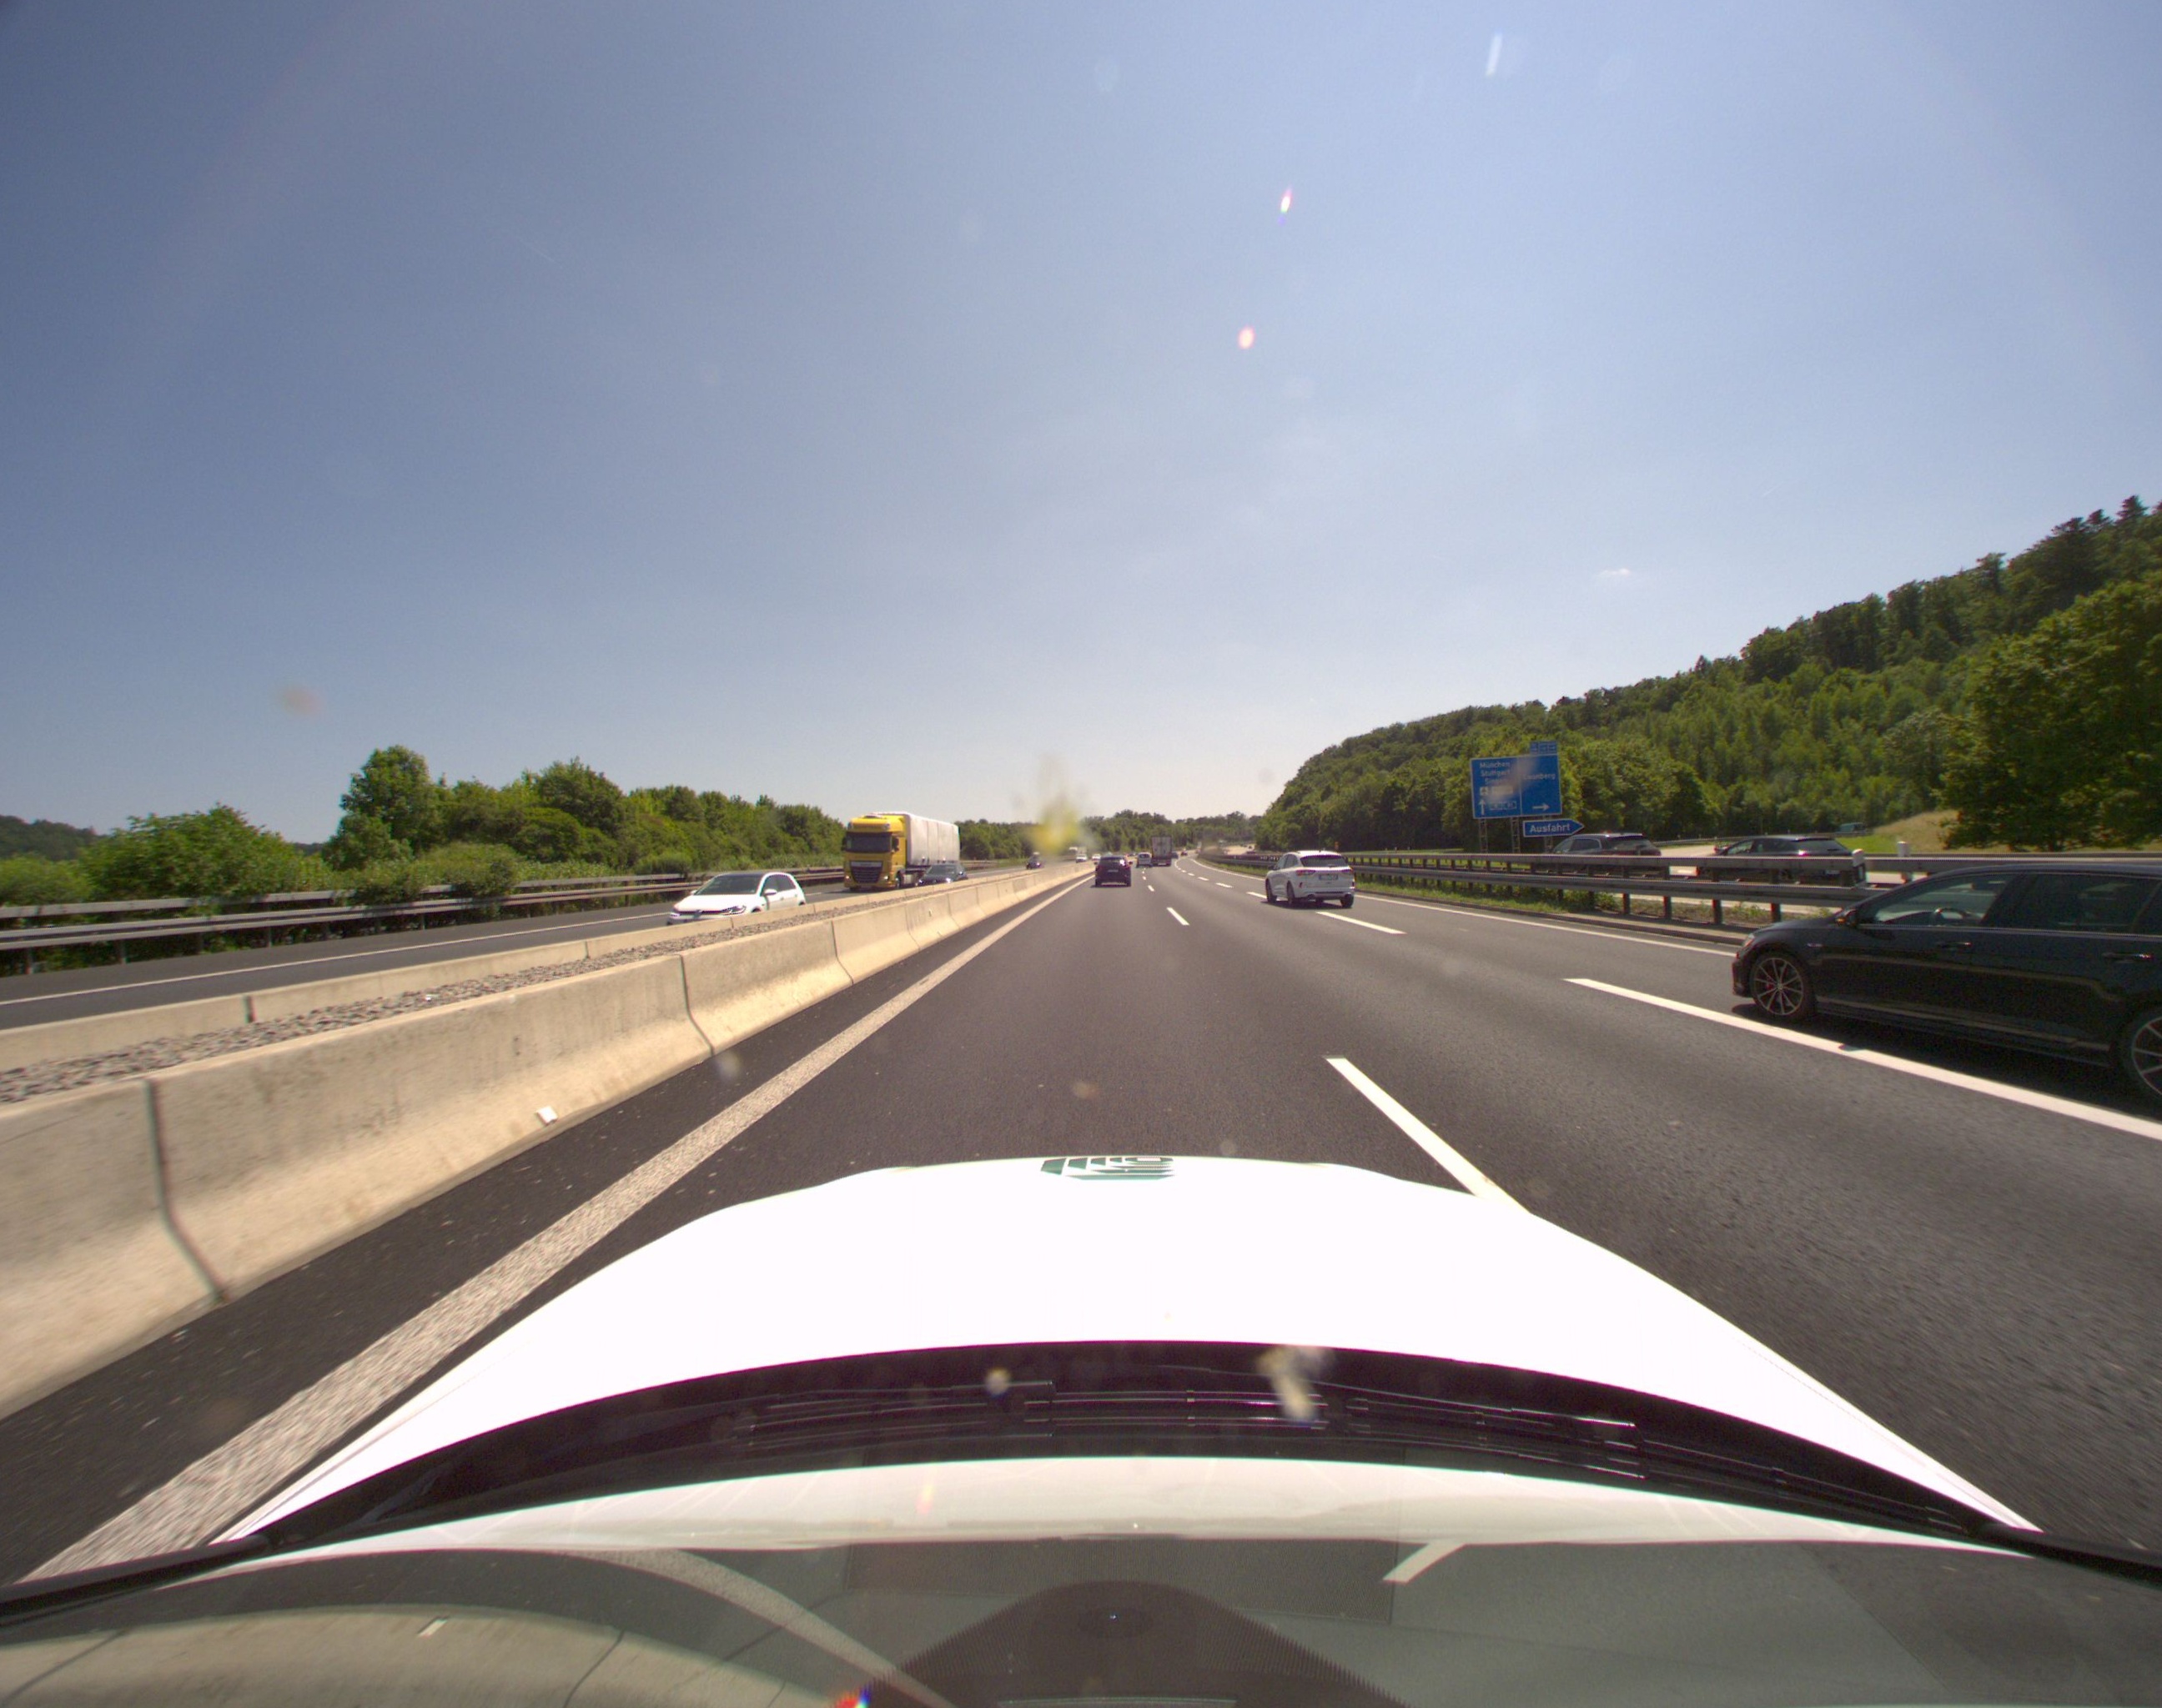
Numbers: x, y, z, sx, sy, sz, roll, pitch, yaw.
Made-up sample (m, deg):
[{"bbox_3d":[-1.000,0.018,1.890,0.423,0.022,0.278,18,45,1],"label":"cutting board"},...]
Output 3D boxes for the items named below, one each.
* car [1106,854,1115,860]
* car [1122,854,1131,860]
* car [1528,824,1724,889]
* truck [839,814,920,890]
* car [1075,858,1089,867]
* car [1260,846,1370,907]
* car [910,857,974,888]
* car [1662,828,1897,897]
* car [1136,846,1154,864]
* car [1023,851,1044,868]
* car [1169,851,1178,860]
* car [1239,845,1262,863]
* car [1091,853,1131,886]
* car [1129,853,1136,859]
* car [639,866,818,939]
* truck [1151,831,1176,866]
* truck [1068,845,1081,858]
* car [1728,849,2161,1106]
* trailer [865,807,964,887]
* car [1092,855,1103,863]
[{"bbox_3d":[7.415,0.810,203.552,1.841,1.394,4.007,0,0,6],"label":"car"},{"bbox_3d":[11.381,0.750,203.403,1.983,1.659,4.642,-1,-1,6],"label":"car"},{"bbox_3d":[15.834,0.076,24.155,1.987,1.662,5.624,-1,0,-1],"label":"car"},{"bbox_3d":[-10.485,-0.077,42.913,2.738,3.754,4.870,-1,-1,3],"label":"truck"},{"bbox_3d":[0.165,1.558,148.839,1.858,1.666,4.674,-1,-1,8],"label":"car"},{"bbox_3d":[7.042,0.645,25.014,1.988,1.662,4.465,-1,-1,-1],"label":"car"},{"bbox_3d":[-6.606,0.862,39.128,1.984,1.349,4.265,-1,0,5],"label":"car"},{"bbox_3d":[19.074,0.233,22.674,1.988,1.662,5.225,-1,0,-1],"label":"car"},{"bbox_3d":[7.729,0.140,98.221,1.984,2.013,4.007,-4,0,6],"label":"car"},{"bbox_3d":[-5.825,0.678,100.926,1.985,2.081,4.707,-2,0,3],"label":"car"},{"bbox_3d":[21.310,0.304,188.474,1.984,2.014,4.006,-1,-1,5],"label":"car"},{"bbox_3d":[20.855,-0.015,100.465,1.986,2.013,4.002,-3,0,2],"label":"car"},{"bbox_3d":[1.501,0.773,41.896,1.775,1.577,3.997,-1,-1,-2],"label":"car"},{"bbox_3d":[15.982,0.543,251.269,1.983,1.824,4.914,-1,-1,7],"label":"car"},{"bbox_3d":[-7.914,1.015,18.890,1.986,1.374,4.664,-1,0,1],"label":"car"},{"bbox_3d":[11.261,-0.690,110.308,3.016,4.418,12.040,-1,-1,7],"label":"truck"},{"bbox_3d":[-1.965,-0.701,241.854,3.065,3.503,5.422,-1,-1,8],"label":"truck"},{"bbox_3d":[7.004,0.698,5.704,1.788,1.435,3.965,-1,-1,0],"label":"car"},{"bbox_3d":[-9.996,-0.336,50.831,2.706,4.312,12.835,-1,0,4],"label":"trailer"},{"bbox_3d":[3.529,1.112,178.287,1.984,1.543,5.049,-1,0,5],"label":"car"}]
